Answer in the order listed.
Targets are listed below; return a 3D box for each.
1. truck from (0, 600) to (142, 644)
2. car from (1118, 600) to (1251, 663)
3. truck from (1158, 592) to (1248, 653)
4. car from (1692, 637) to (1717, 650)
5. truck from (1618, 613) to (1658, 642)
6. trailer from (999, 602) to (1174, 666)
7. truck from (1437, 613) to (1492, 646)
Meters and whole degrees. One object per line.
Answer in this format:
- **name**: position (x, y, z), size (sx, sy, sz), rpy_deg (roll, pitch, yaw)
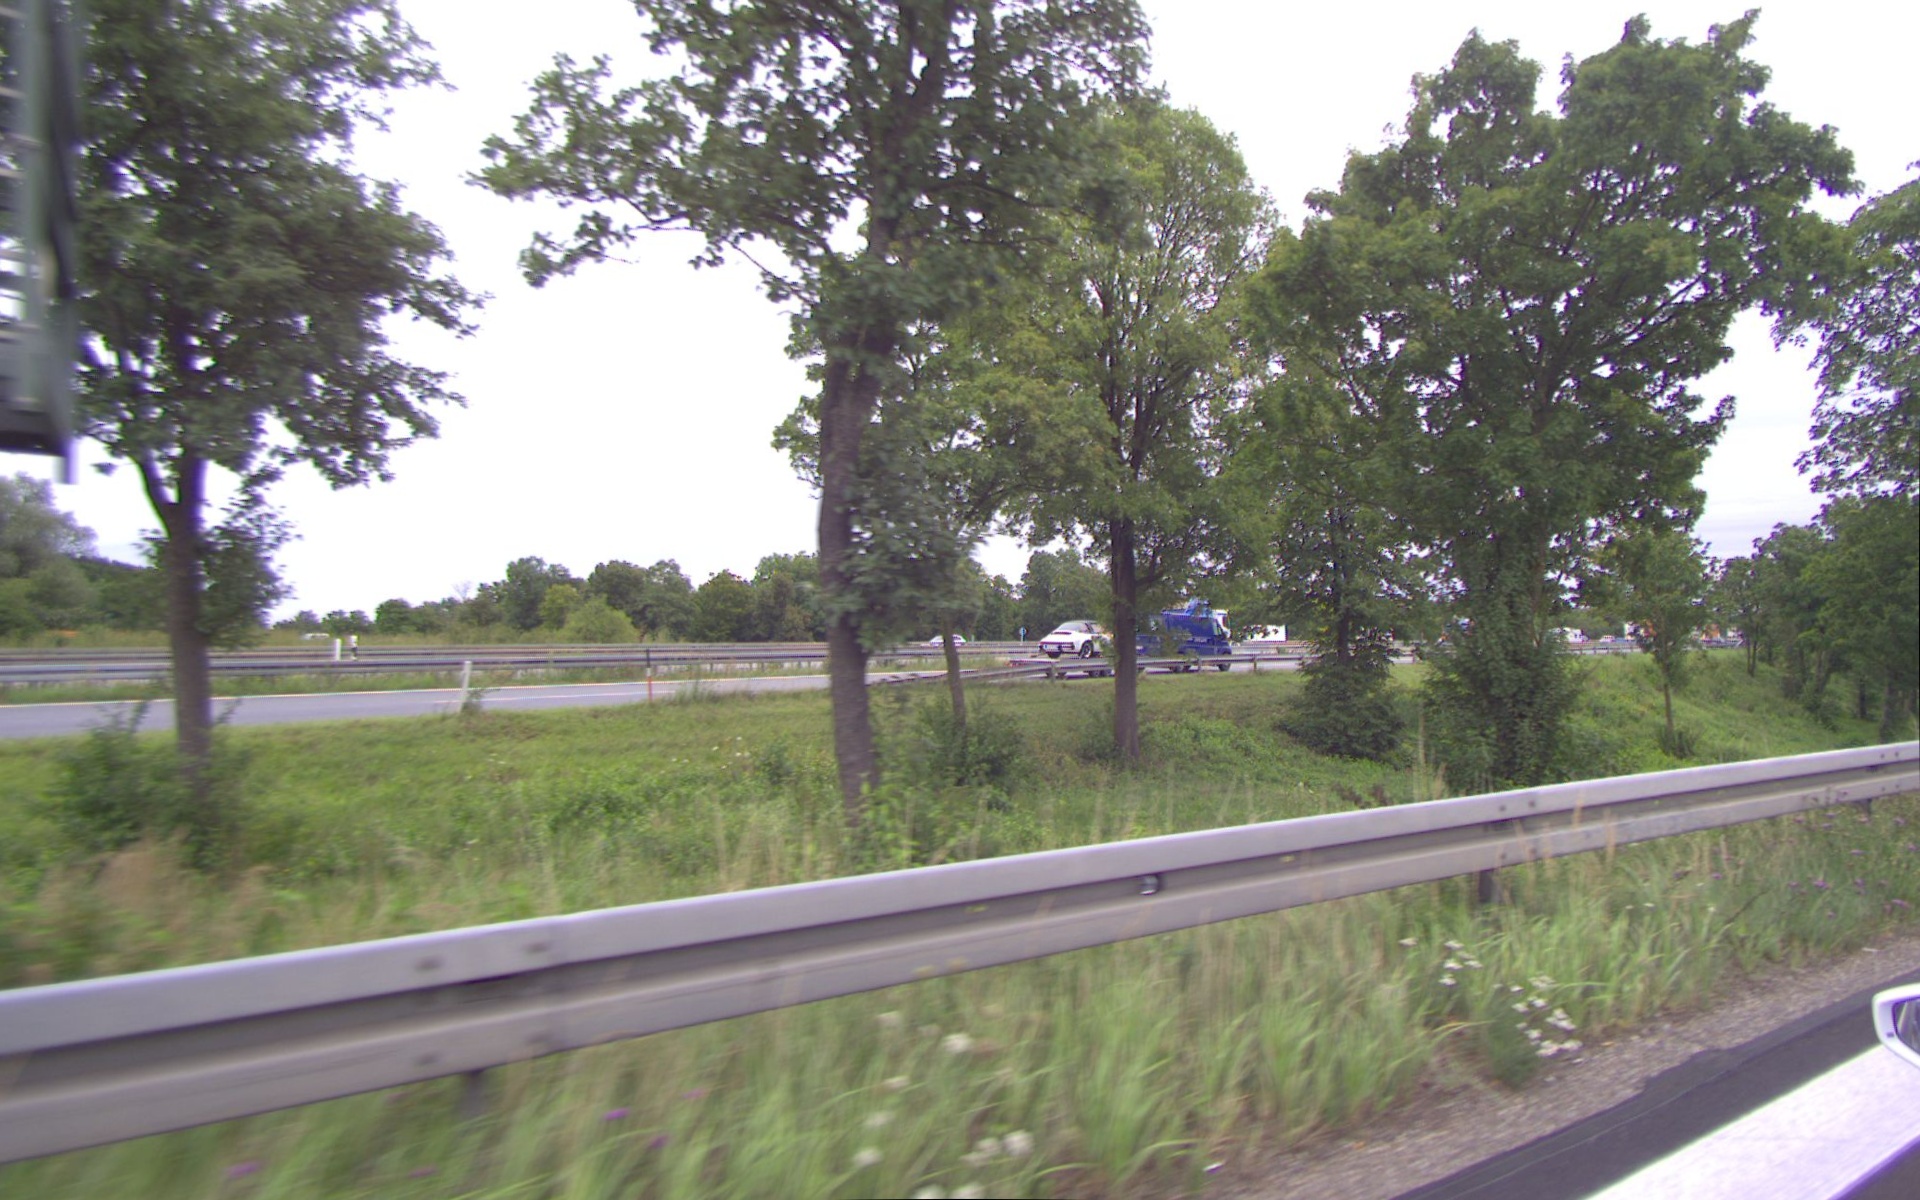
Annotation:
- **truck**: position (-44.872, 1.065, 48.039), size (8.757, 2.040, 1.973), rpy_deg (2, -2, -45)
- **car**: position (9.022, 1.230, 39.862), size (2.347, 2.296, 6.221), rpy_deg (0, -1, 43)
- **truck**: position (16.272, 1.530, 66.996), size (2.609, 3.862, 7.302), rpy_deg (0, -2, 43)
- **car**: position (94.770, 5.521, 127.815), size (1.940, 1.659, 5.593), rpy_deg (0, -2, 43)
- **truck**: position (108.312, 4.407, 160.459), size (3.693, 4.476, 10.136), rpy_deg (0, -1, 43)
- **trailer**: position (4.560, 1.165, 35.008), size (2.458, 2.021, 7.023), rpy_deg (0, -1, 43)
- **truck**: position (53.140, 3.095, 105.722), size (2.826, 3.409, 8.581), rpy_deg (-1, -2, 43)
